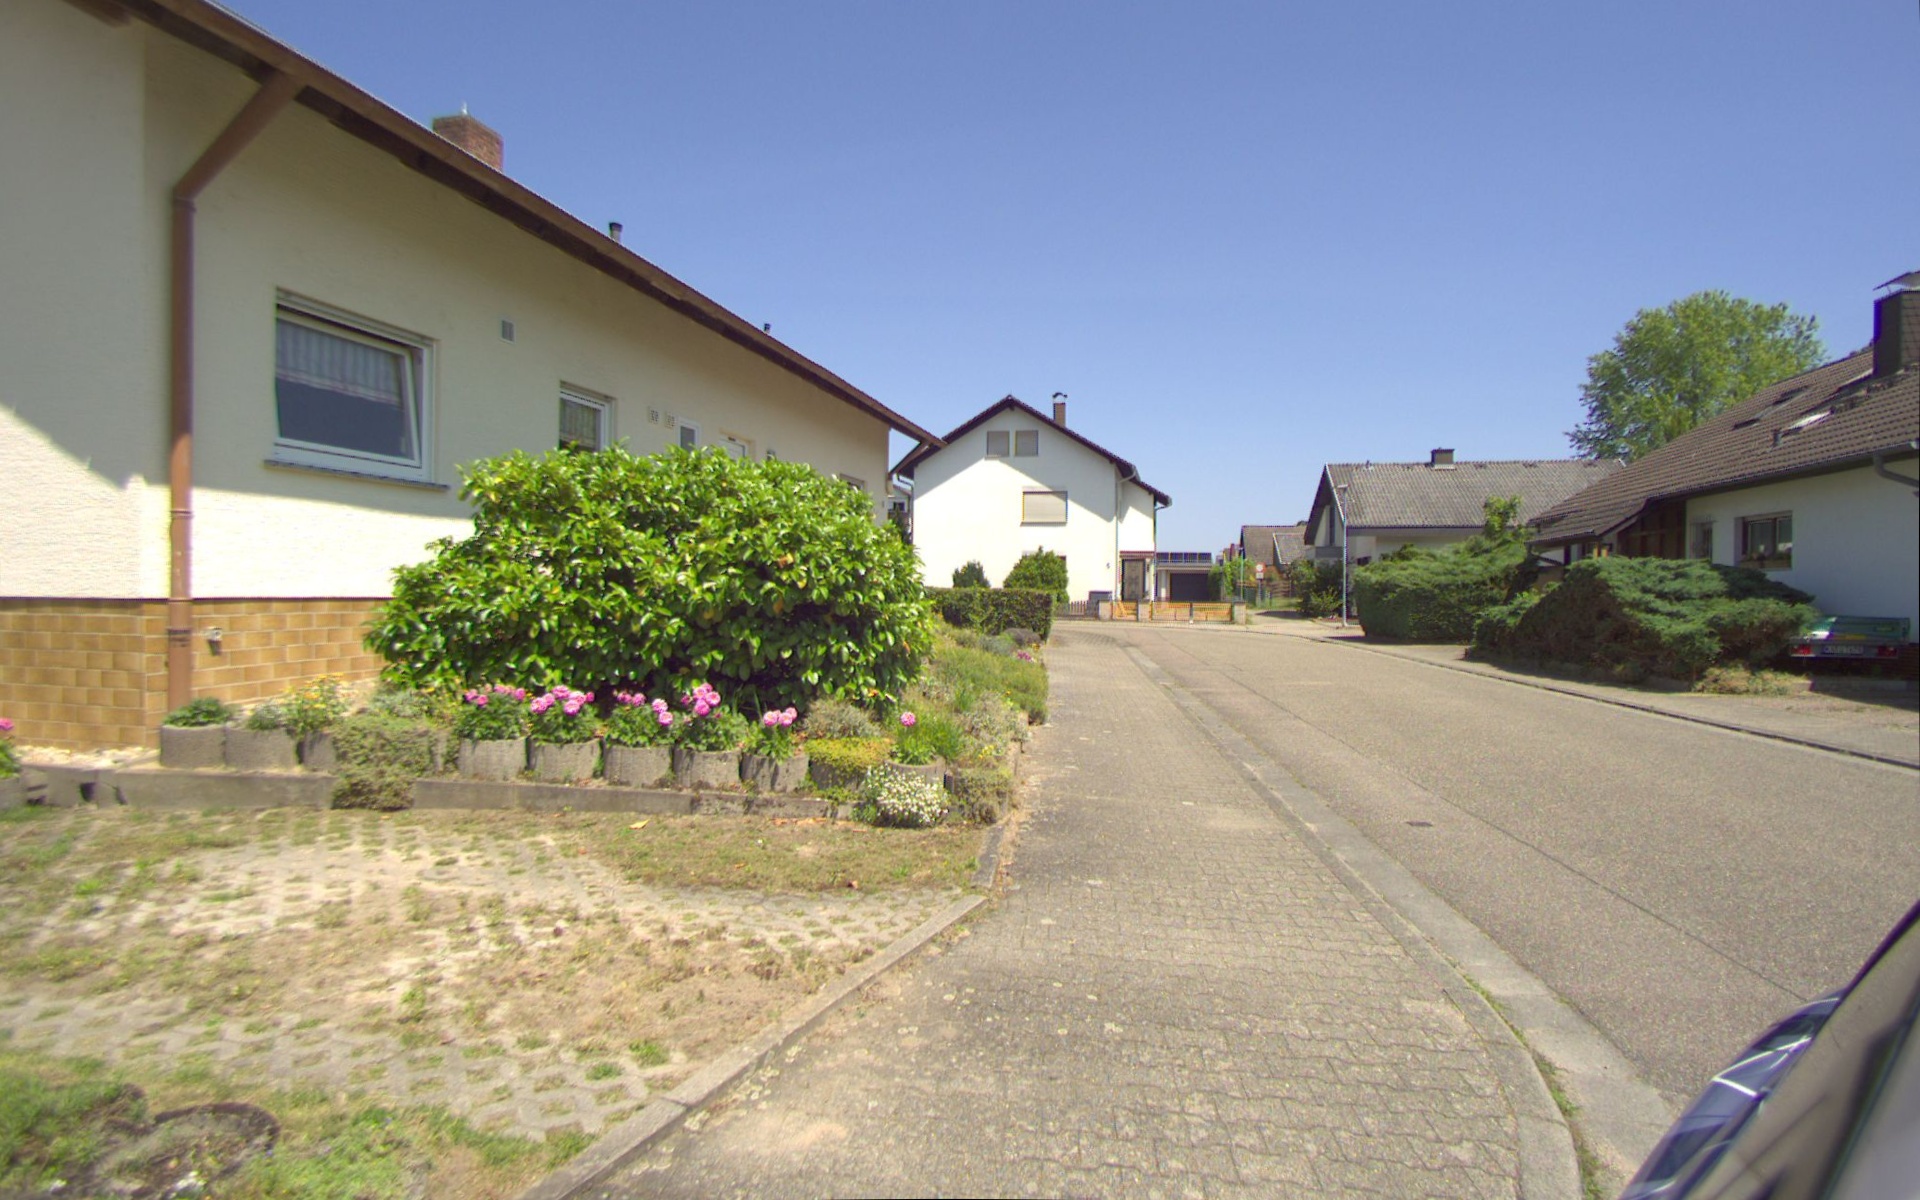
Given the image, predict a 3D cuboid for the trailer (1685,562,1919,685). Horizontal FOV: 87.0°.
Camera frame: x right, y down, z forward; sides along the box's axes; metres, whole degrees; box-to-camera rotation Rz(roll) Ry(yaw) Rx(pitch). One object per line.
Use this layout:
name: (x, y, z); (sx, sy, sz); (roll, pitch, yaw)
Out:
trailer: (12.958, 0.298, 15.726); (1.568, 1.693, 3.284); (-1, 1, 13)
